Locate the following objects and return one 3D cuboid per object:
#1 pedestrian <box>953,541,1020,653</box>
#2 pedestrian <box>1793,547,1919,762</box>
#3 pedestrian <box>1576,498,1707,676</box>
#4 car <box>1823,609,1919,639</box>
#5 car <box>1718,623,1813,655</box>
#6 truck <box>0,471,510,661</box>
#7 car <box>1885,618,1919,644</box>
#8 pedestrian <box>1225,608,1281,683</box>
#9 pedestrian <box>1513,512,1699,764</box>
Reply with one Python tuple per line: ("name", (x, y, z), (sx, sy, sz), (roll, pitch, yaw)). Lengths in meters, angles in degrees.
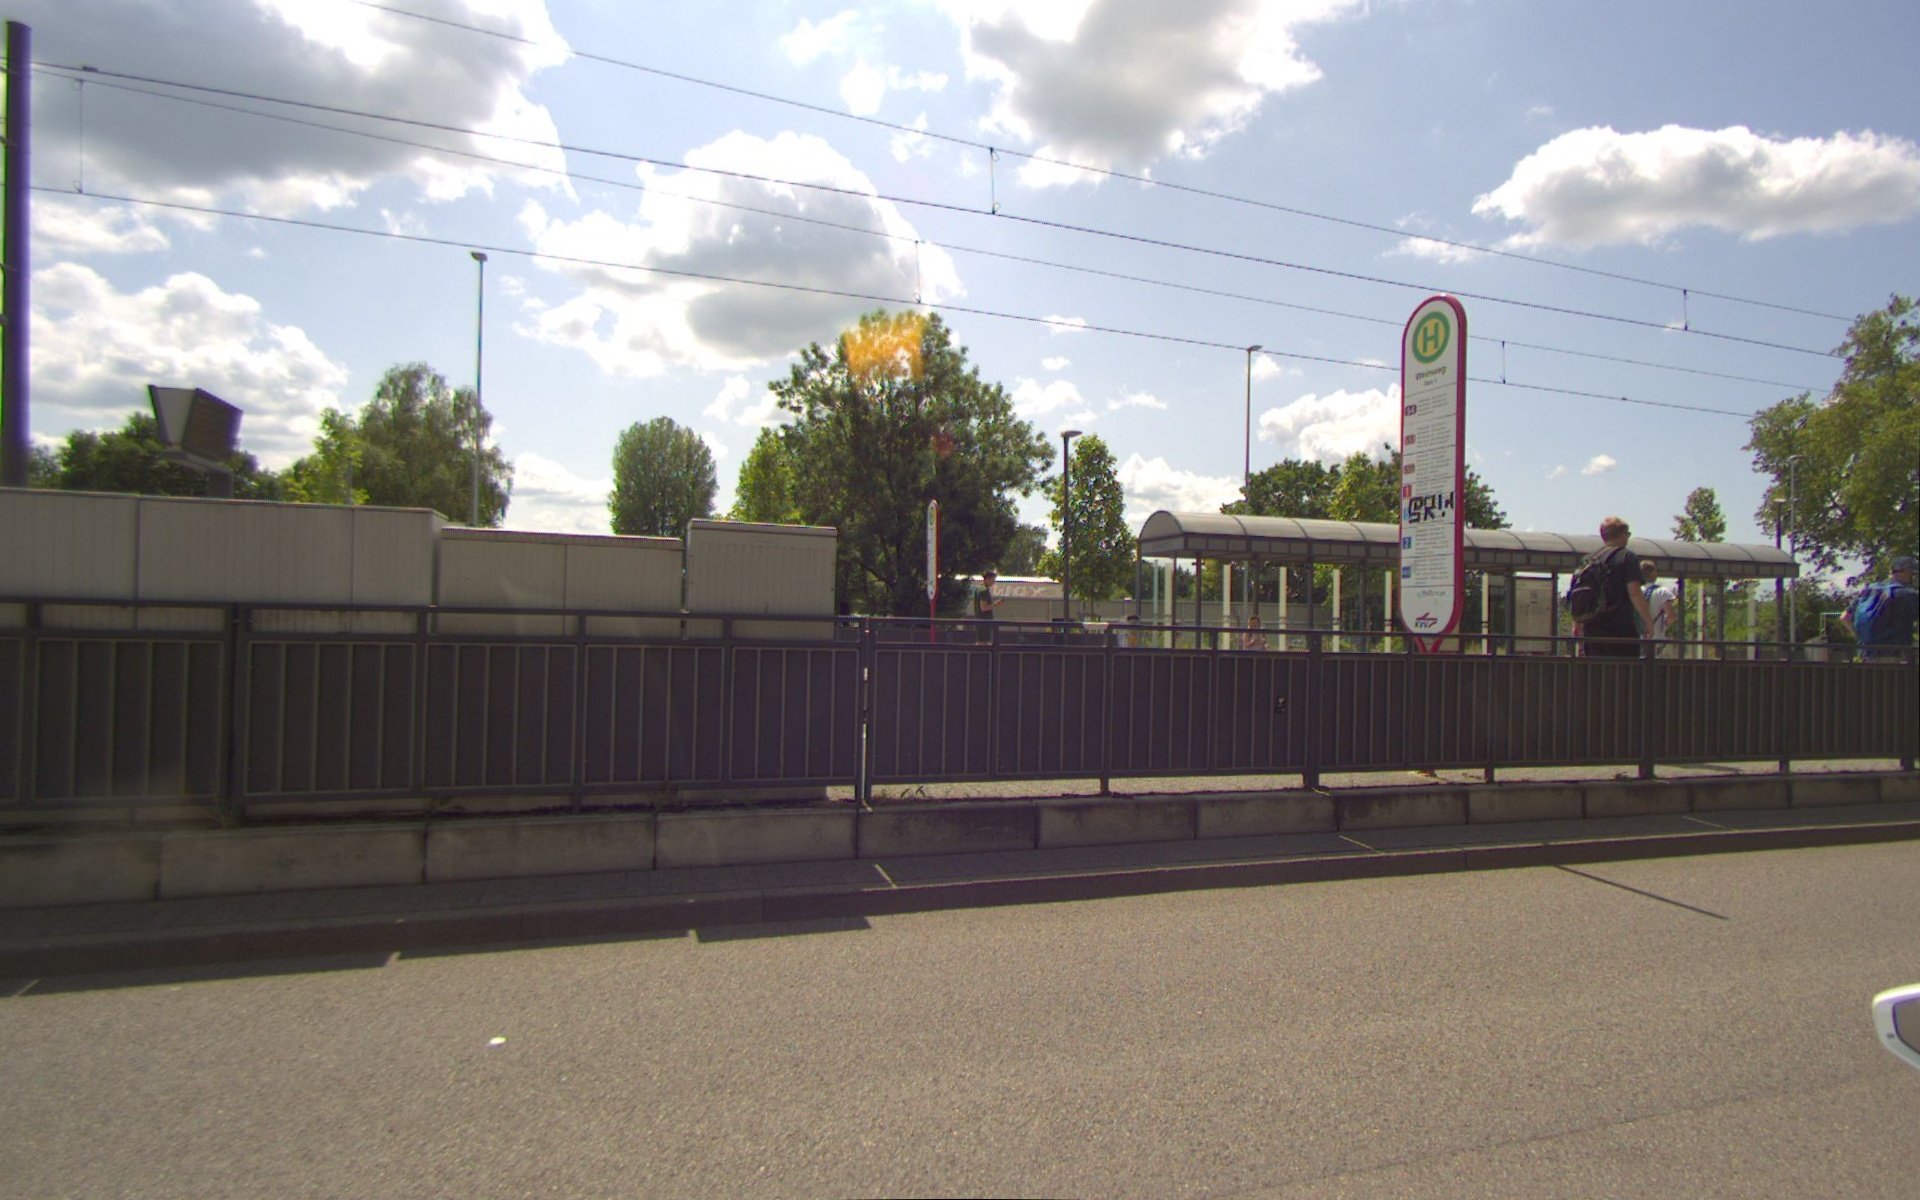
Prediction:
("pedestrian", (0.433, -0.036, 16.979), (0.915, 1.831, 0.733), (1, 0, -17))
("pedestrian", (8.029, 0.462, 8.793), (0.915, 1.779, 0.733), (1, 0, -17))
("pedestrian", (7.353, -0.125, 10.854), (0.915, 1.831, 0.733), (1, 0, -17))
("car", (53.629, 1.383, 59.096), (1.878, 1.684, 3.914), (0, 0, -16))
("car", (46.010, 2.199, 57.463), (1.878, 1.684, 3.915), (0, 0, -16))
("truck", (-17.789, -0.668, 24.873), (11.812, 4.159, 2.939), (1, 0, -19))
("car", (64.743, 2.061, 67.702), (3.867, 1.684, 1.901), (0, 0, -19))
("pedestrian", (5.844, 0.918, 20.058), (0.774, 1.450, 0.761), (1, -3, -18))
("pedestrian", (5.363, 0.297, 8.380), (0.978, 1.965, 0.872), (0, 0, -18))
